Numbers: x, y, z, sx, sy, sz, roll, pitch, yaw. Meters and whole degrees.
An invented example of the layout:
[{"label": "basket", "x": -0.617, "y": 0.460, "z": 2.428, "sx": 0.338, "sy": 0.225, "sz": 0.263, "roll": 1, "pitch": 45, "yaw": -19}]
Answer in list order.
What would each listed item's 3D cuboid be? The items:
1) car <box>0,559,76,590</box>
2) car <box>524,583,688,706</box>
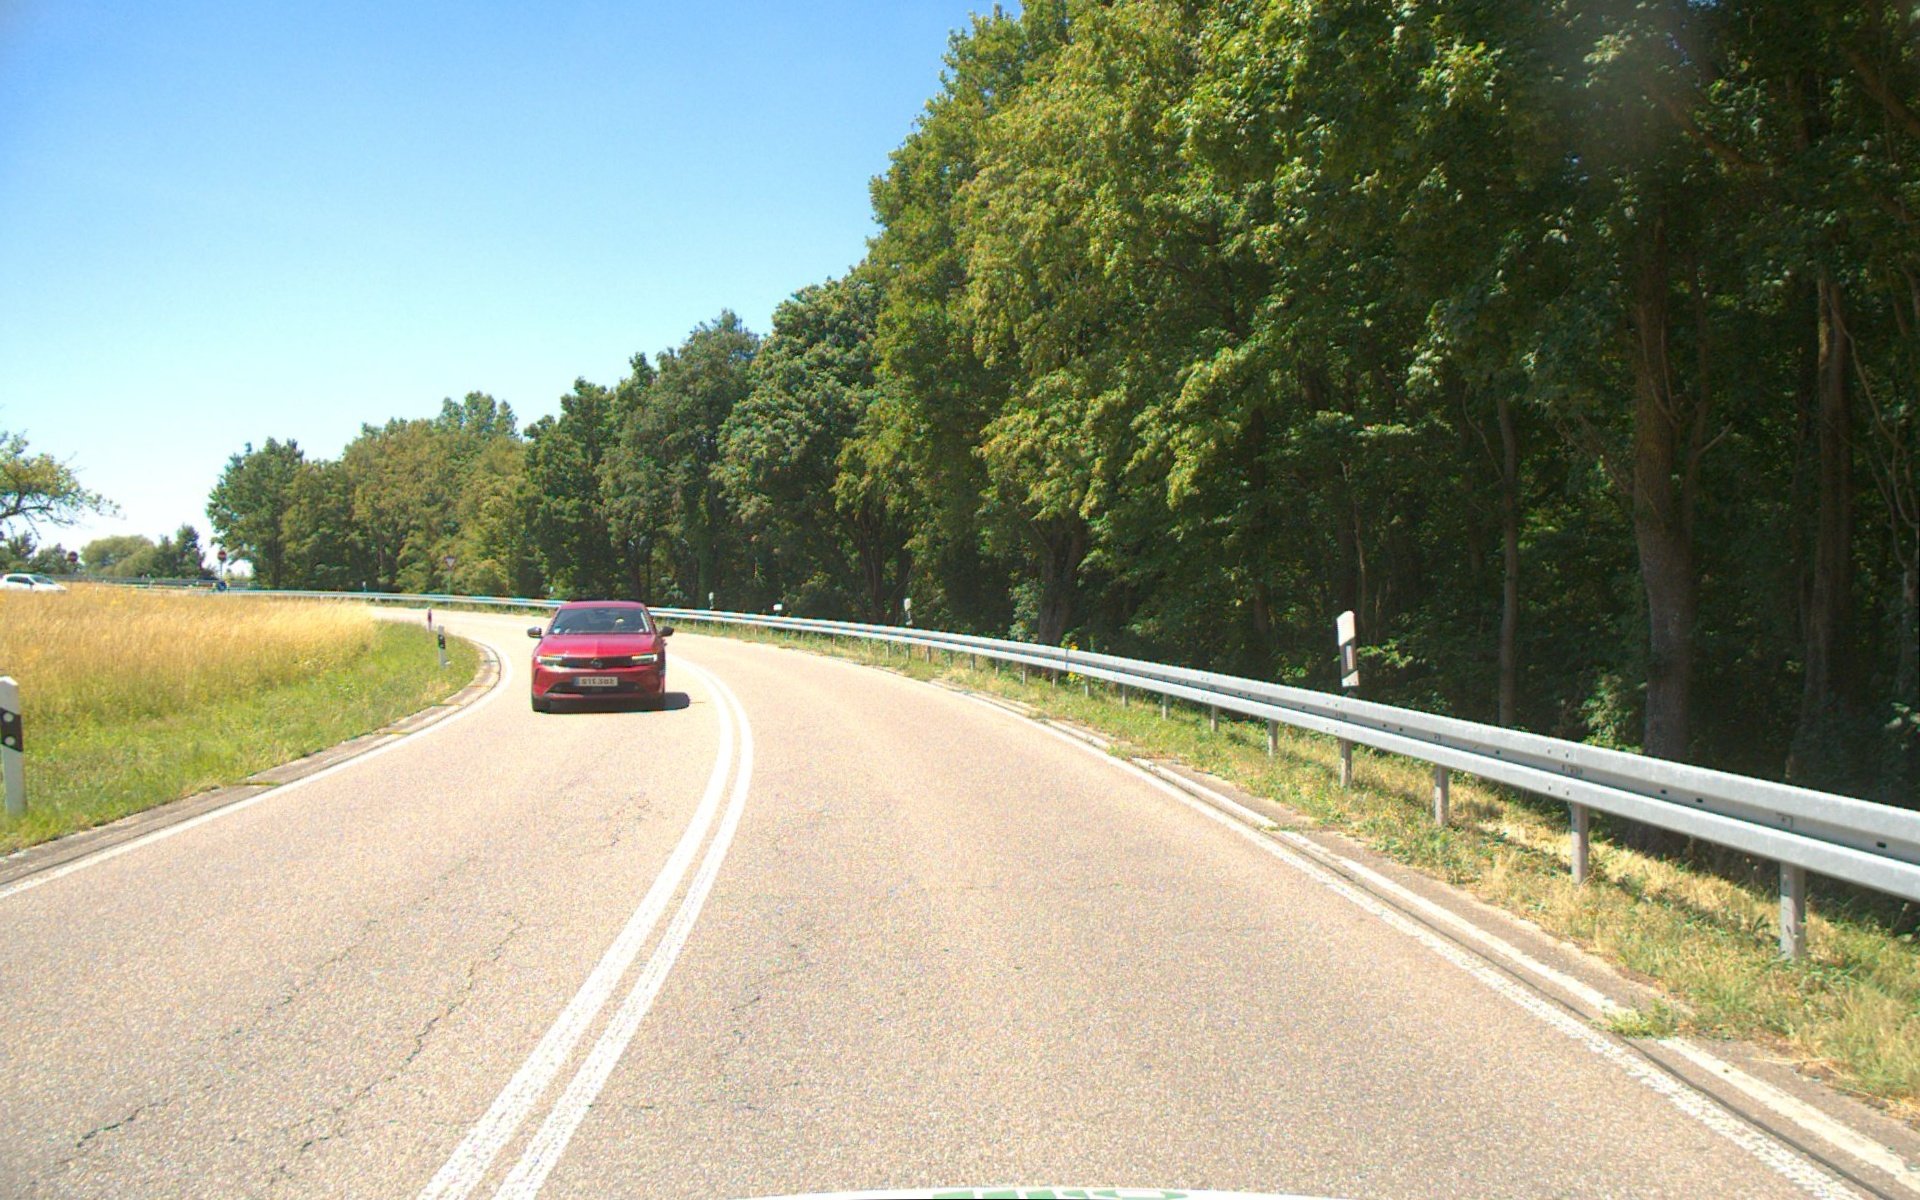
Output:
[{"label": "car", "x": -52.240, "y": -1.428, "z": 92.929, "sx": 4.080, "sy": 1.532, "sz": 1.826, "roll": 0, "pitch": 5, "yaw": -8}, {"label": "car", "x": -4.918, "y": 0.627, "z": 23.501, "sx": 1.788, "sy": 1.483, "sz": 4.393, "roll": -3, "pitch": -1, "yaw": -7}]
